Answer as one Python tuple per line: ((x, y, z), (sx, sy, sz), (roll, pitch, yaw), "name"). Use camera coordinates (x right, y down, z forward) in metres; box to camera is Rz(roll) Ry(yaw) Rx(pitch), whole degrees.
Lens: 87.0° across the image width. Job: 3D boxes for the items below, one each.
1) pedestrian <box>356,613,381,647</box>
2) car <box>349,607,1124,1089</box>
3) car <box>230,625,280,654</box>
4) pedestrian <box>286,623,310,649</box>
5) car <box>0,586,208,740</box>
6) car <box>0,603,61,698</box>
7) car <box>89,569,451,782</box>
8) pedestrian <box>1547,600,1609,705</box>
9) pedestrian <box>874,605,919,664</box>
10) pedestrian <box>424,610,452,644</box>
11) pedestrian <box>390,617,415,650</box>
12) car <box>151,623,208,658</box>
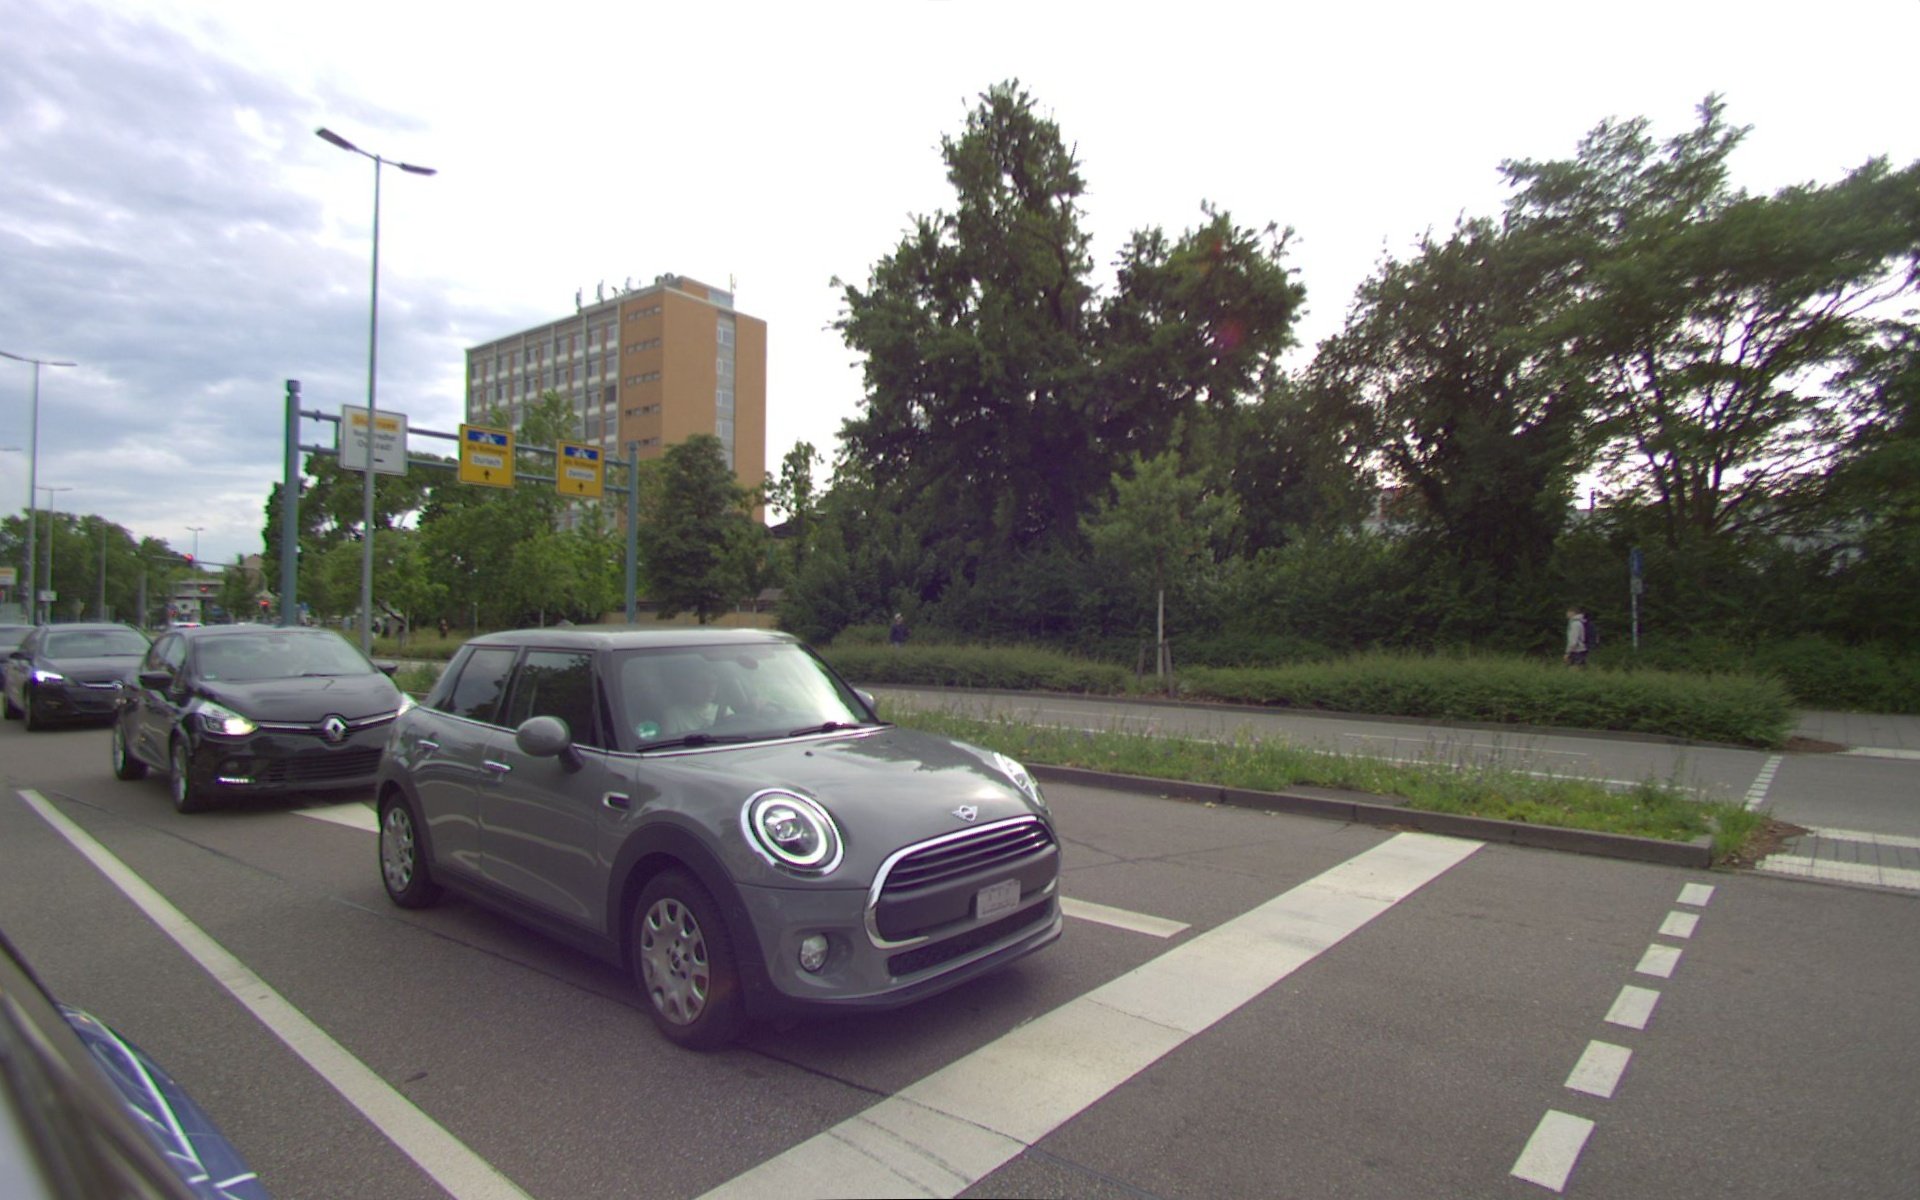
((-36.283, 1.832, 62.026), (1.218, 2.029, 0.872), (-1, -1, 33), "pedestrian")
((-1.256, 0.736, 4.647), (3.704, 1.328, 1.604), (-1, -3, 41), "car")
((-40.121, 2.213, 57.586), (1.828, 1.564, 4.005), (1, -2, -42), "car")
((-51.714, 2.808, 79.028), (1.519, 2.029, 1.208), (-1, -1, 41), "pedestrian")
((-13.208, 0.887, 15.428), (3.998, 2.029, 1.972), (-1, -3, 41), "car")
((-22.101, 1.119, 23.014), (3.998, 2.029, 1.972), (-1, -3, 41), "car")
((-6.246, 0.578, 8.990), (3.998, 1.470, 1.709), (-1, -3, 41), "car")
((12.286, 1.027, 20.116), (0.896, 2.029, 0.823), (1, -2, -45), "pedestrian")
((-1.797, 0.974, 28.748), (0.812, 1.637, 0.978), (-1, -1, 39), "pedestrian")
((-30.554, 1.592, 59.222), (1.163, 1.933, 1.122), (-1, -1, 44), "pedestrian")
((-34.290, 2.049, 62.270), (1.218, 2.029, 0.872), (-1, -1, 33), "pedestrian")
((-42.935, 2.179, 55.634), (4.000, 1.786, 1.868), (-1, 0, 43), "car")
